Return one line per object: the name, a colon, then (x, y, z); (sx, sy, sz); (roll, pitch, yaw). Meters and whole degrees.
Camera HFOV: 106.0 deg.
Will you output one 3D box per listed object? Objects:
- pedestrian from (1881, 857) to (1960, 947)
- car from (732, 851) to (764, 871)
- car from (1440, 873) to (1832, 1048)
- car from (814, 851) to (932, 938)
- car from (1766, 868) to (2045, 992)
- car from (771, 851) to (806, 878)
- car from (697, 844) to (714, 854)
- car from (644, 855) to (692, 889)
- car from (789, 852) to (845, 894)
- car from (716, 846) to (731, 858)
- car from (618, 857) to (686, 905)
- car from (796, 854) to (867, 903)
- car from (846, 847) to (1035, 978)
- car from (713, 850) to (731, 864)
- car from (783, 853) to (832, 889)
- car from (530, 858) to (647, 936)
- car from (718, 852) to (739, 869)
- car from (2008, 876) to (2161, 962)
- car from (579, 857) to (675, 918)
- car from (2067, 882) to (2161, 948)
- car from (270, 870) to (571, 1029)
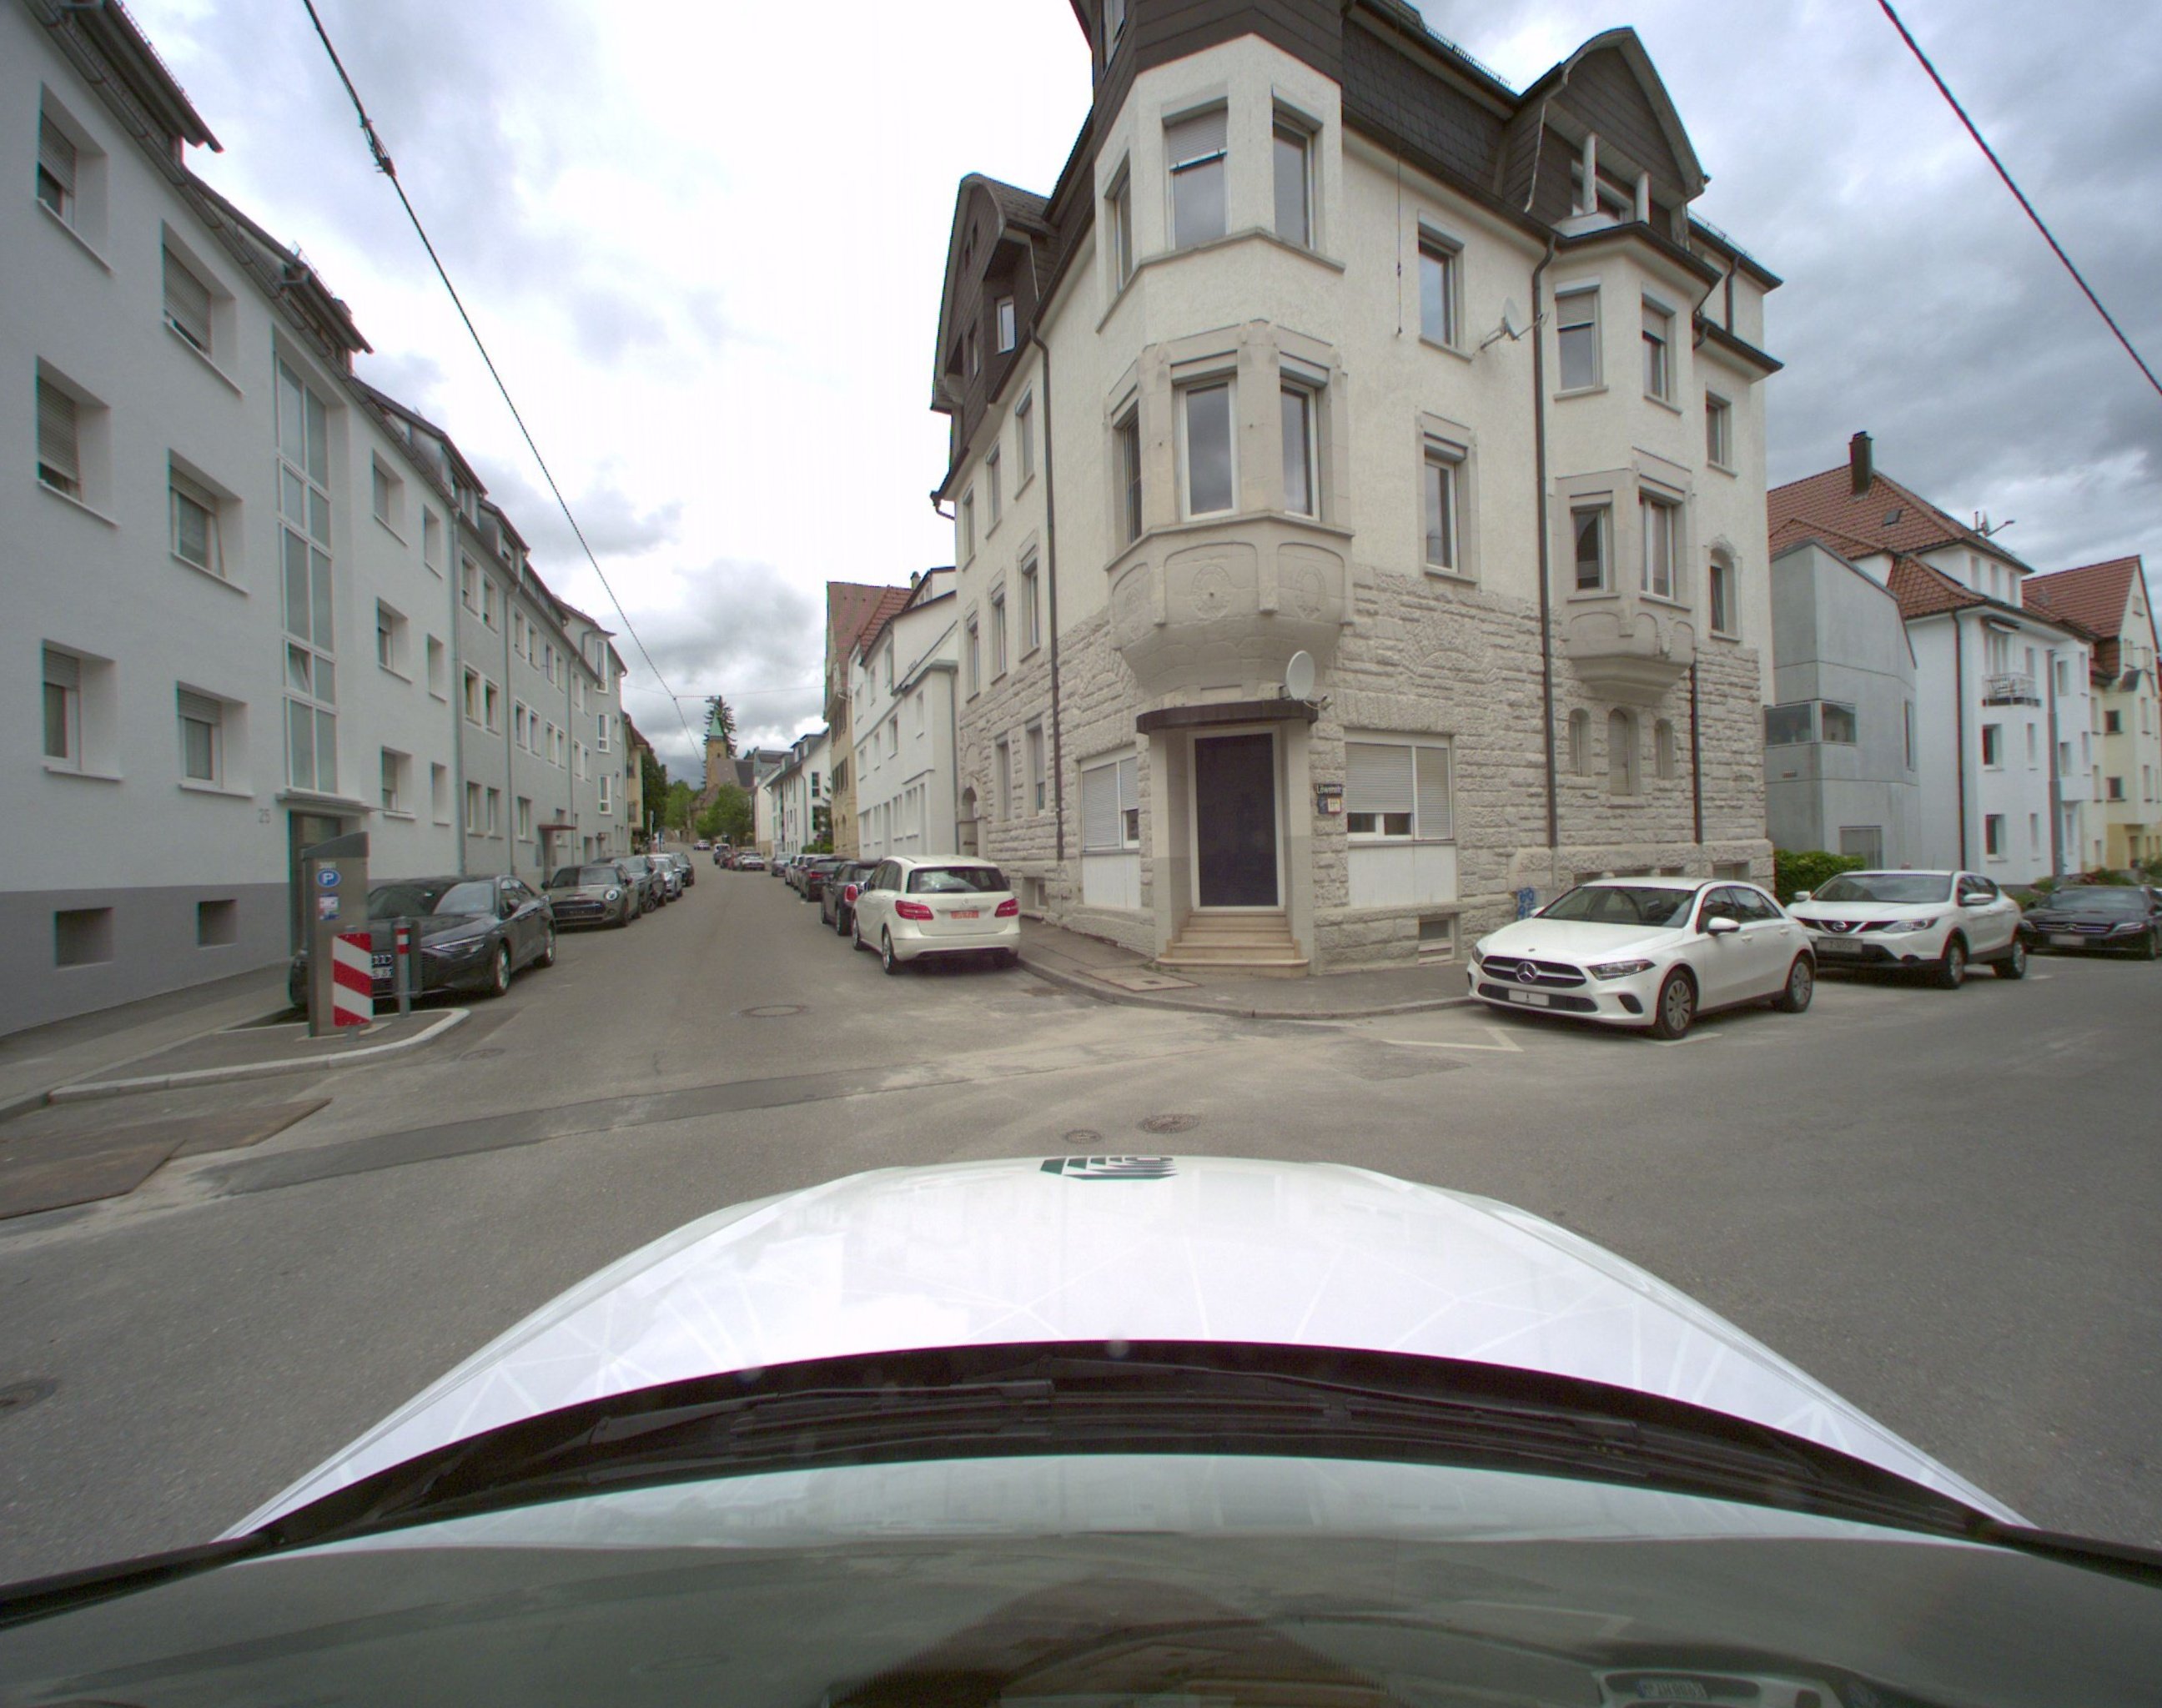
pedestrian: (18.103, 1.016, 17.578); (0.843, 1.885, 0.817); (0, -2, -6)
car: (-26.335, 0.508, 64.293); (1.796, 1.479, 3.590); (-1, 1, -32)
car: (5.833, 0.909, 8.444); (4.253, 1.414, 1.688); (1, -1, -30)
car: (-4.388, 0.724, 16.786); (1.675, 1.533, 3.995); (1, 0, -25)
car: (11.977, 0.960, 11.783); (4.253, 1.516, 1.833); (1, -1, -30)
car: (-17.341, 0.578, 48.185); (1.675, 1.479, 3.597); (1, 0, -25)
car: (-61.830, -0.812, 134.156); (2.195, 1.693, 3.592); (-1, 1, -30)
car: (-19.271, 0.788, 38.089); (1.738, 1.448, 3.690); (-2, 1, -24)
car: (-10.354, 0.701, 31.851); (1.675, 1.479, 3.597); (1, 0, -25)
car: (-43.681, -0.275, 99.535); (1.676, 1.479, 3.597); (-1, 1, -25)
car: (-14.562, 0.858, 27.790); (1.738, 1.448, 3.690); (-2, 1, -24)
car: (-8.083, 0.735, 26.218); (1.675, 1.385, 3.995); (1, 0, -25)
car: (-2.269, 0.723, 12.164); (1.829, 1.599, 3.994); (1, 0, -25)
car: (-39.290, 0.289, 89.110); (1.676, 1.479, 3.597); (-1, 1, -25)
car: (-12.207, 0.700, 36.230); (1.675, 1.479, 3.597); (1, 0, -25)
car: (-11.098, 0.891, 18.596); (1.738, 1.489, 3.690); (-2, 1, -24)
car: (-32.014, 0.577, 73.901); (1.676, 1.479, 3.597); (-1, 1, -25)
car: (21.191, 1.243, 16.807); (4.484, 1.527, 1.884); (1, -1, -30)
car: (-12.695, 0.862, 22.991); (1.736, 1.469, 3.695); (-2, 1, -20)
car: (26.083, 1.425, 19.830); (5.076, 1.413, 1.833); (1, -1, -30)
car: (-7.935, 0.983, 10.316); (1.828, 1.391, 4.264); (-2, 1, -24)
